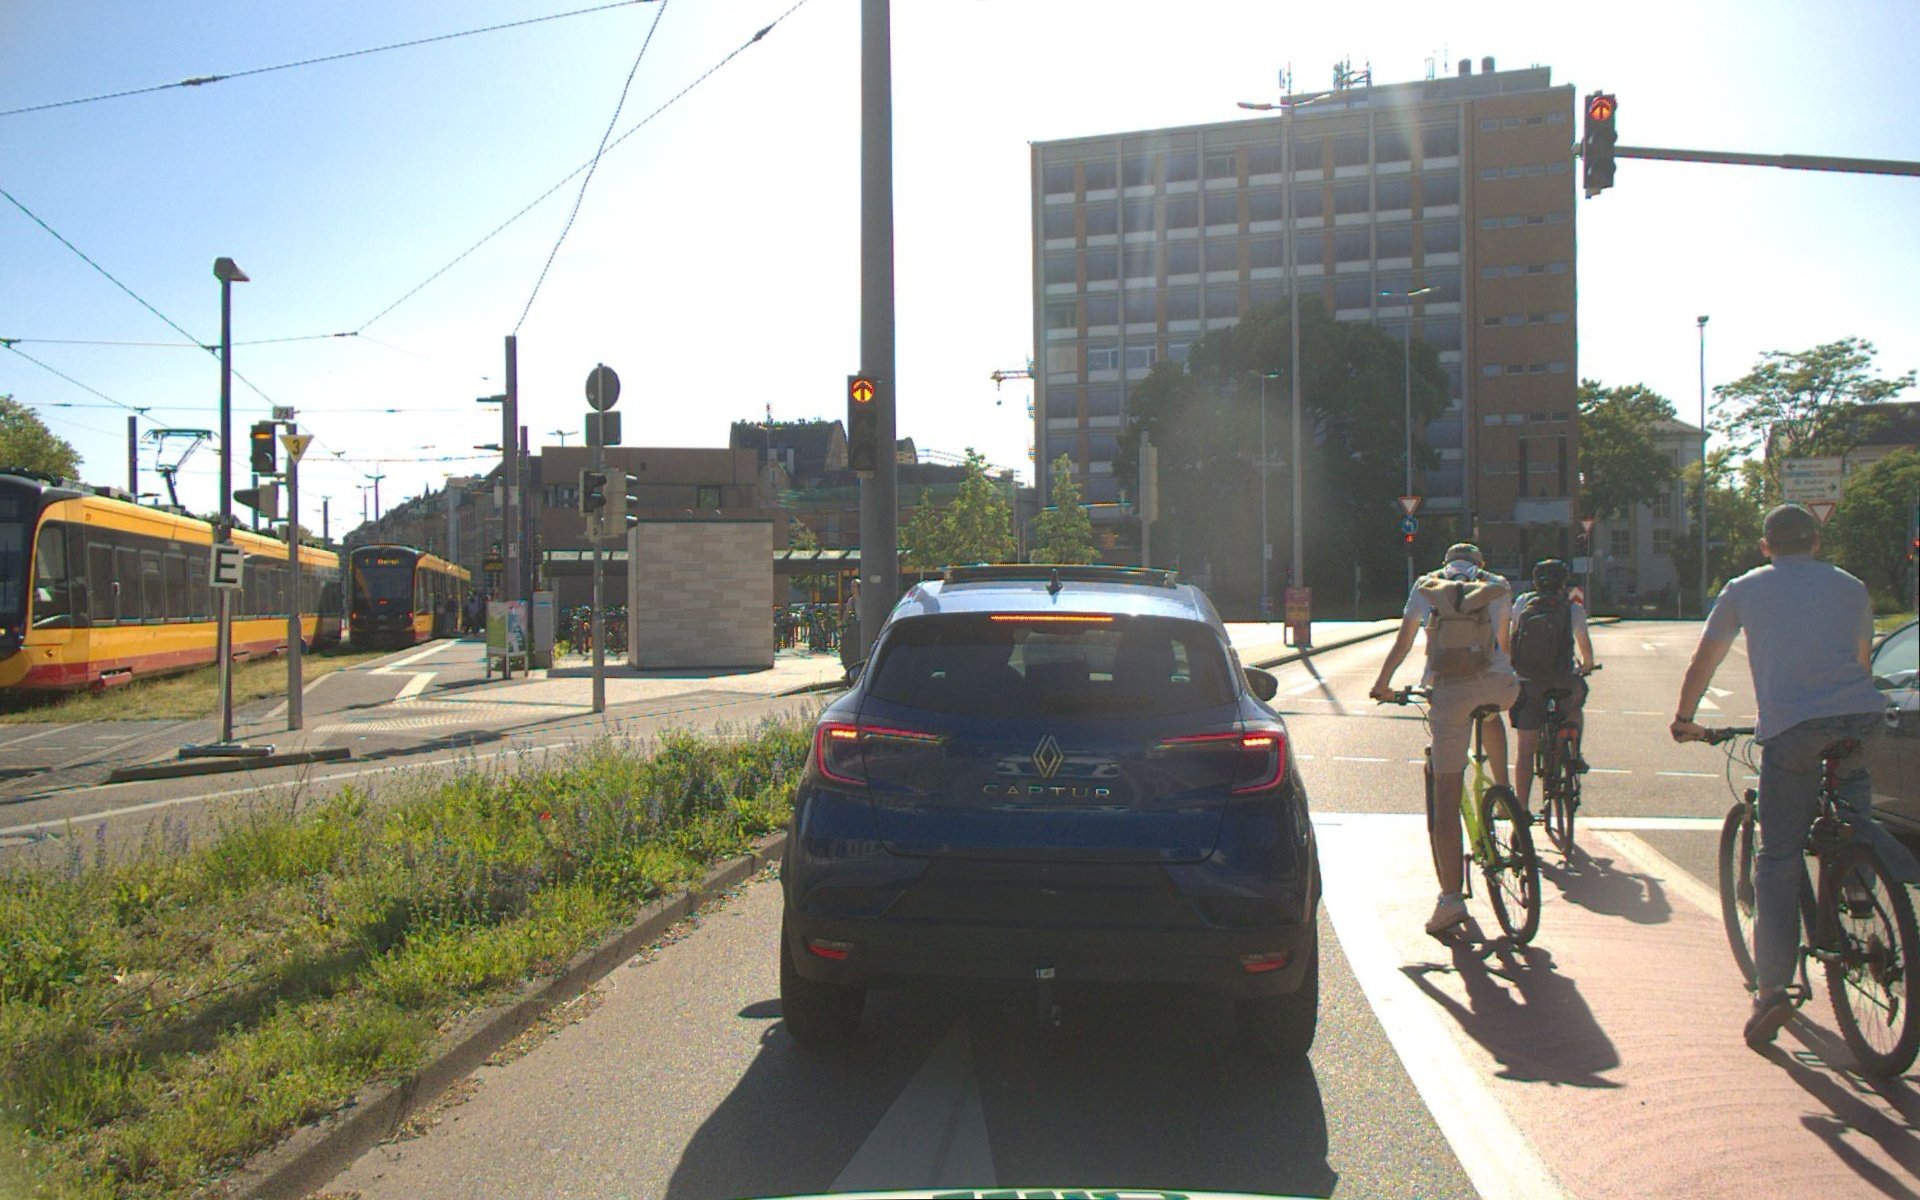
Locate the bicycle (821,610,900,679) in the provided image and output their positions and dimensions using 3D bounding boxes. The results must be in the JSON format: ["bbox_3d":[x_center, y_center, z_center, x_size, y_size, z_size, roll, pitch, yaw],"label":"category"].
[{"bbox_3d":[-1.669,0.738,28.013,0.756,1.099,2.037,-1,-1,13],"label":"bicycle"}]

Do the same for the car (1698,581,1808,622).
[{"bbox_3d":[34.608,0.068,72.291,4.150,1.596,1.824,-3,0,23],"label":"car"}]

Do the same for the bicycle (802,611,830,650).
[{"bbox_3d":[-3.738,0.784,42.959,0.570,0.978,2.054,1,-1,-9],"label":"bicycle"}]

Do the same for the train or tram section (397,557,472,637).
[{"bbox_3d":[-25.018,-0.160,79.140,2.823,3.569,10.502,0,0,-14],"label":"train or tram section"}]

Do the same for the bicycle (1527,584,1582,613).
[{"bbox_3d":[31.817,-0.075,88.541,2.746,1.568,0.883,0,-1,25],"label":"bicycle"}]

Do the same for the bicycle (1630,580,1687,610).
[{"bbox_3d":[37.460,-0.281,88.708,2.746,1.568,0.883,0,-1,25],"label":"bicycle"}]

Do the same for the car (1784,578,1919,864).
[{"bbox_3d":[6.200,0.683,9.380,1.718,1.568,3.662,2,0,10],"label":"car"}]

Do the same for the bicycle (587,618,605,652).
[{"bbox_3d":[-10.448,1.005,47.449,0.415,0.954,1.300,1,0,-15],"label":"bicycle"}]

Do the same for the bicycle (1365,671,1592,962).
[{"bbox_3d":[2.348,0.923,7.702,0.648,1.065,1.892,0,1,6],"label":"bicycle"}]

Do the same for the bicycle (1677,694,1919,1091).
[{"bbox_3d":[3.080,0.937,5.903,0.598,1.096,1.831,0,0,12],"label":"bicycle"}]

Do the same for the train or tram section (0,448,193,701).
[{"bbox_3d":[-15.578,-0.340,28.127,2.771,3.569,10.437,-1,0,-15],"label":"train or tram section"}]

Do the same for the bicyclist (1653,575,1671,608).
[{"bbox_3d":[37.629,-0.446,88.652,0.841,1.721,0.884,0,-1,24],"label":"bicyclist"}]

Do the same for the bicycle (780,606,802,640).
[{"bbox_3d":[-5.745,0.787,56.062,0.570,1.107,1.866,1,-1,-11],"label":"bicycle"}]

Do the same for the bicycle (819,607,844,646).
[{"bbox_3d":[-3.787,0.779,48.690,0.570,1.107,2.054,1,-1,-9],"label":"bicycle"}]

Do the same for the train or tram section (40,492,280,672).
[{"bbox_3d":[-18.132,-0.350,38.313,2.768,3.569,10.573,0,0,-14],"label":"train or tram section"}]

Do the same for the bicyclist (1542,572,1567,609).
[{"bbox_3d":[31.823,-0.489,88.534,1.183,1.930,0.883,0,-1,24],"label":"bicyclist"}]

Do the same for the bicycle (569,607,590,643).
[{"bbox_3d":[-11.954,0.781,52.017,0.556,1.112,2.023,1,-1,-11],"label":"bicycle"}]

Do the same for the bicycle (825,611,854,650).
[{"bbox_3d":[-3.139,0.789,43.056,0.570,0.978,2.054,1,-1,-9],"label":"bicycle"}]

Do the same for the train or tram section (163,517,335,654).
[{"bbox_3d":[-20.688,-0.372,48.807,2.768,3.569,11.170,0,0,-14],"label":"train or tram section"}]

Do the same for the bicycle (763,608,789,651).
[{"bbox_3d":[-4.732,0.771,42.569,0.570,1.076,1.812,1,-1,-9],"label":"bicycle"}]

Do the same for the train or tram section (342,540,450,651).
[{"bbox_3d":[-19.873,-0.138,58.819,2.823,3.569,10.502,0,0,-14],"label":"train or tram section"}]

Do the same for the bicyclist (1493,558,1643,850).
[{"bbox_3d":[3.645,0.584,9.990,0.706,1.654,1.056,1,0,13],"label":"bicyclist"}]

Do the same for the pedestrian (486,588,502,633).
[{"bbox_3d":[-19.968,0.462,70.877,0.621,1.889,0.701,1,-1,-11],"label":"pedestrian"}]

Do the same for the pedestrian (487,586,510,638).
[{"bbox_3d":[-17.340,0.458,62.137,0.833,1.916,0.757,1,-1,-16],"label":"pedestrian"}]

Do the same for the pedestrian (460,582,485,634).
[{"bbox_3d":[-17.980,0.307,61.017,0.833,1.916,0.757,1,-1,-16],"label":"pedestrian"}]

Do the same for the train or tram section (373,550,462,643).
[{"bbox_3d":[-22.479,-0.136,69.018,2.823,3.569,10.502,0,0,-14],"label":"train or tram section"}]

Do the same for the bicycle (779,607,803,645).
[{"bbox_3d":[-4.972,0.770,48.600,0.570,1.107,2.054,1,-1,-9],"label":"bicycle"}]

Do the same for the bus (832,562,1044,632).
[{"bbox_3d":[-1.319,-0.069,86.684,12.212,3.455,2.868,-1,-2,40],"label":"bus"}]

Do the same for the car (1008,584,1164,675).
[{"bbox_3d":[2.371,0.492,30.134,1.763,1.417,4.094,-1,2,20],"label":"car"}]

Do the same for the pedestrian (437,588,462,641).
[{"bbox_3d":[-18.510,0.530,60.019,0.833,1.916,0.757,1,-1,-16],"label":"pedestrian"}]

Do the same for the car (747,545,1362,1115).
[{"bbox_3d":[0.421,0.658,6.675,1.785,1.628,3.661,1,0,5],"label":"car"}]

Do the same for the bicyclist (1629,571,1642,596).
[{"bbox_3d":[40.349,-0.993,98.777,0.606,1.469,0.818,-1,0,29],"label":"bicyclist"}]

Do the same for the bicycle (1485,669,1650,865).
[{"bbox_3d":[3.656,0.958,10.083,0.707,0.976,1.885,1,0,13],"label":"bicycle"}]

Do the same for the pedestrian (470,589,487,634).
[{"bbox_3d":[-20.318,0.489,69.785,0.623,1.889,0.699,1,-1,-20],"label":"pedestrian"}]

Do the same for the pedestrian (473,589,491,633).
[{"bbox_3d":[-20.946,0.488,72.545,0.688,1.889,0.632,1,-1,-12],"label":"pedestrian"}]

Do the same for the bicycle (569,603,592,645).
[{"bbox_3d":[-10.489,0.669,45.732,0.556,1.112,2.023,1,-1,-11],"label":"bicycle"}]

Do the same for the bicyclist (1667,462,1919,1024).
[{"bbox_3d":[3.001,0.459,5.851,0.733,1.807,1.015,0,0,12],"label":"bicyclist"}]

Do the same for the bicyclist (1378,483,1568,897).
[{"bbox_3d":[2.339,0.387,7.640,0.649,1.778,1.006,0,0,6],"label":"bicyclist"}]

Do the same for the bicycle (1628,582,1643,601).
[{"bbox_3d":[40.373,-0.509,98.806,0.597,1.112,1.669,-1,0,29],"label":"bicycle"}]

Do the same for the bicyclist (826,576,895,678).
[{"bbox_3d":[-1.680,0.451,28.065,0.861,1.673,1.061,-1,-1,13],"label":"bicyclist"}]

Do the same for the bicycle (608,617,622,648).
[{"bbox_3d":[-10.954,1.022,52.464,0.414,0.954,1.375,1,0,-12],"label":"bicycle"}]

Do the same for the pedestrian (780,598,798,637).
[{"bbox_3d":[-8.272,0.840,80.080,0.710,1.889,0.703,0,-1,8],"label":"pedestrian"}]
